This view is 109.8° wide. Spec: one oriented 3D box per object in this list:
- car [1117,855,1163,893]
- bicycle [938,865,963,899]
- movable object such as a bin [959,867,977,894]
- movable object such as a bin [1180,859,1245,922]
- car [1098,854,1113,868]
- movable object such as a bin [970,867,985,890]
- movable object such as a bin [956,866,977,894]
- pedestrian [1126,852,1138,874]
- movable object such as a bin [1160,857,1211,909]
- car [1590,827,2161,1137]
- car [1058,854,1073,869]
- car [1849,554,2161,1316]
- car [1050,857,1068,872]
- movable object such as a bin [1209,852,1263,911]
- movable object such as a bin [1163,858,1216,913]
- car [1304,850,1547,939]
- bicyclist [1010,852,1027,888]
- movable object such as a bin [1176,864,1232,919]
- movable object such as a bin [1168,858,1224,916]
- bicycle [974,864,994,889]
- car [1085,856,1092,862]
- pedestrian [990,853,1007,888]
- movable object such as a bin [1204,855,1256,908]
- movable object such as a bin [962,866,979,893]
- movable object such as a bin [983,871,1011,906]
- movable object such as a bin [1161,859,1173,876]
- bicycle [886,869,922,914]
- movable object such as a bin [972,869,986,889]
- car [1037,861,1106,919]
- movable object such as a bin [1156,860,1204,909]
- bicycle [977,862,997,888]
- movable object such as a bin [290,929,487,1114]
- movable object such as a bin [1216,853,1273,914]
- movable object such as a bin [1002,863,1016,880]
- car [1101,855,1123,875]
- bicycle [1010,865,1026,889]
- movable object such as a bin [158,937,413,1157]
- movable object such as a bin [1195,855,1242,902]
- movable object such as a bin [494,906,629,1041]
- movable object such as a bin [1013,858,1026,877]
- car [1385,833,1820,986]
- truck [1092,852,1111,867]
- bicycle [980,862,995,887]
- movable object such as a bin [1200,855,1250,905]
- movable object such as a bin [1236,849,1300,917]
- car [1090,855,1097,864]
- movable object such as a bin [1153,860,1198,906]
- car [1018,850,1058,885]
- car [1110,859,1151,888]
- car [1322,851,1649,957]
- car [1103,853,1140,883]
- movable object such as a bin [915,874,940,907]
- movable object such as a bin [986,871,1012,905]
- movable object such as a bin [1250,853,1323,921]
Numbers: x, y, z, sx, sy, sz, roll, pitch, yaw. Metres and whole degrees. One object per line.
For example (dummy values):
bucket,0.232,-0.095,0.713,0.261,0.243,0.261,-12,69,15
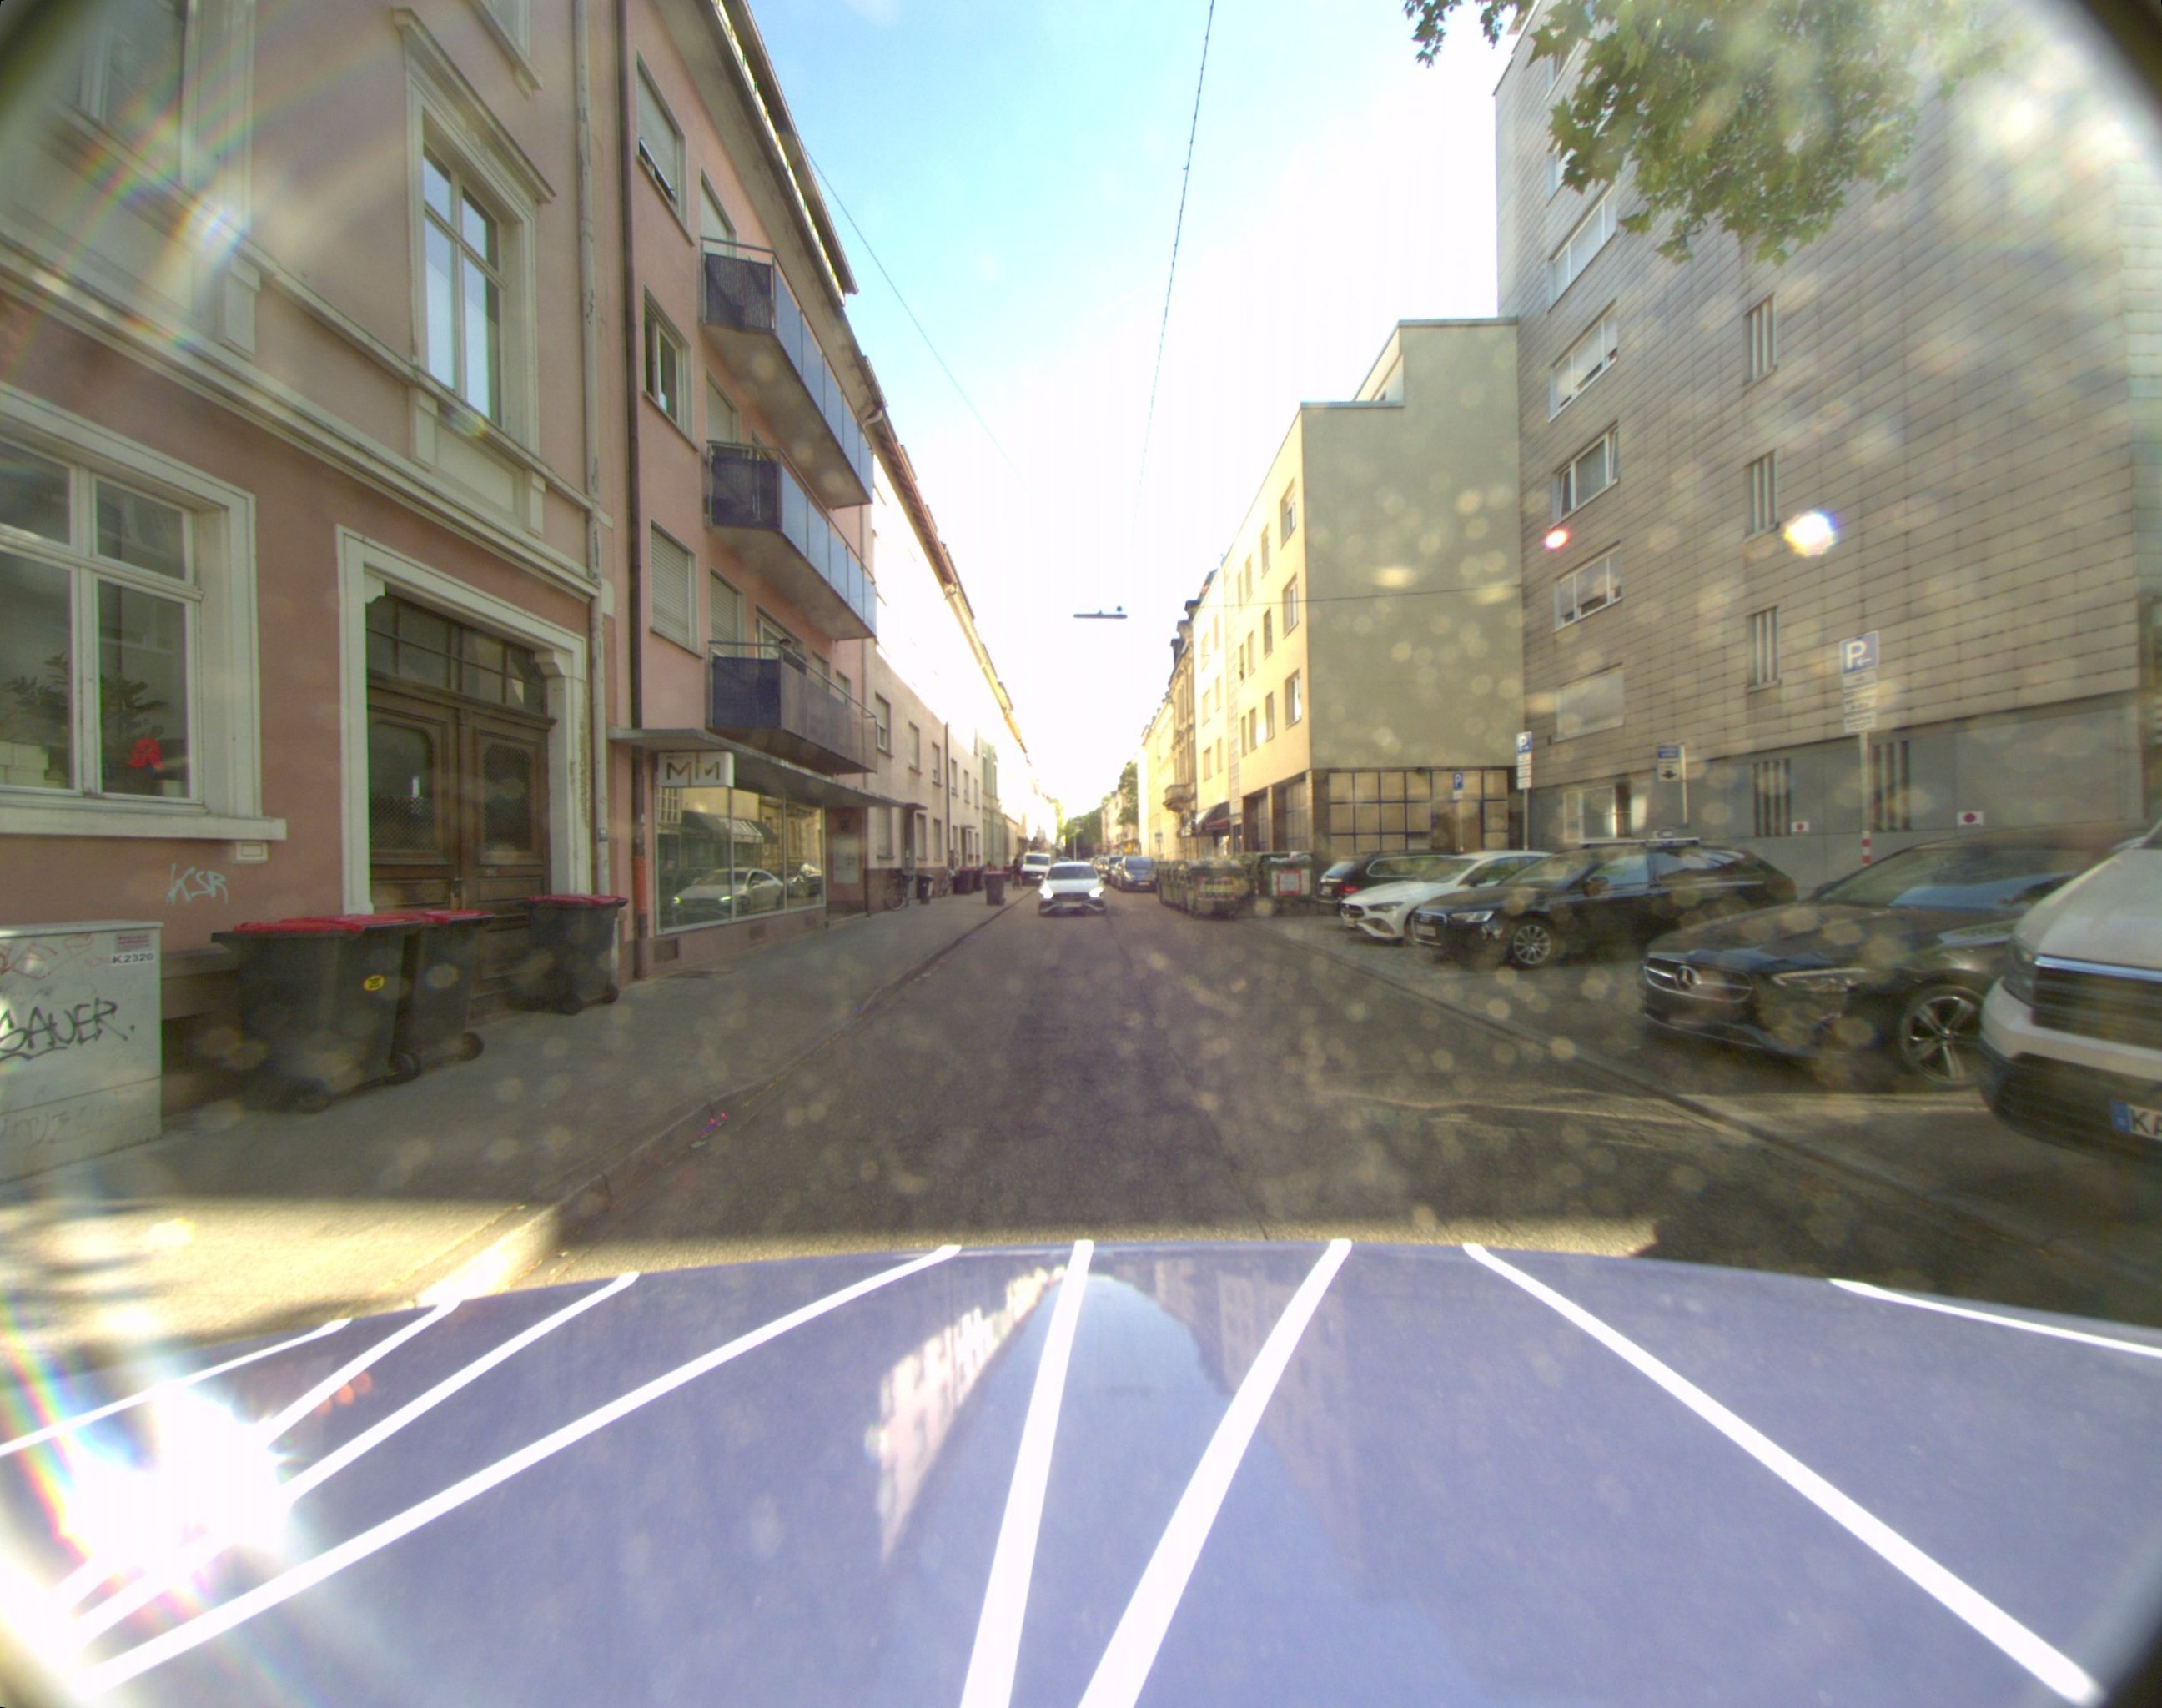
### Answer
car,2.660,0.864,35.231,1.787,1.657,4.670,0,0,0
bicycle,-4.837,1.013,28.329,0.538,1.163,2.076,3,0,-1
movable object such as a bin,-4.714,1.115,31.719,0.658,1.098,0.593,-1,0,1
movable object such as a bin,3.186,0.868,18.481,1.304,1.442,1.117,-2,1,-4
car,3.286,0.965,103.979,1.771,1.887,4.808,1,0,-1
movable object such as a bin,-4.769,1.115,35.068,0.617,1.056,0.603,1,0,0
movable object such as a bin,-4.699,1.065,31.124,0.740,1.091,0.640,2,1,1
pedestrian,4.298,0.730,63.783,0.913,1.822,1.245,-1,1,0
movable object such as a bin,3.102,0.861,22.775,1.352,1.478,1.003,-2,1,0
car,6.389,0.679,5.137,4.511,1.462,1.929,-4,0,1
car,-2.188,1.015,108.439,1.975,2.017,4.899,-2,0,-1
car,6.938,0.056,2.331,6.755,2.540,2.145,-4,1,2
car,-2.388,1.132,83.485,1.805,1.570,4.897,-2,0,0
movable object such as a bin,4.418,0.765,21.750,1.297,1.611,1.018,-2,1,0
movable object such as a bin,3.085,0.874,21.739,1.346,1.490,1.018,-2,1,0
car,6.582,0.744,14.830,3.885,1.496,1.826,-2,1,-1
bicyclist,-3.083,0.791,37.735,0.762,1.760,0.822,1,-1,-2
movable object such as a bin,3.156,0.950,19.581,1.244,1.314,1.045,-2,1,0
movable object such as a bin,3.105,0.889,20.671,1.338,1.482,1.082,-2,1,0
bicycle,-4.695,1.071,36.945,0.570,1.147,1.868,-1,1,5
car,2.080,1.434,208.580,1.786,1.674,4.021,-1,1,0
pedestrian,-4.135,0.816,38.030,0.656,1.701,0.687,-1,1,12
movable object such as a bin,4.444,0.807,22.753,1.305,1.514,1.018,-2,1,0
movable object such as a bin,-4.701,1.085,32.280,0.629,1.116,0.569,-1,1,1
movable object such as a bin,-2.694,1.108,24.423,0.770,1.080,0.693,-1,1,1
movable object such as a bin,5.937,0.918,52.391,0.721,1.125,0.584,-1,1,-4
bicycle,-4.807,0.989,20.711,0.454,1.127,1.920,1,0,2
movable object such as a bin,-4.793,1.184,35.678,0.578,0.919,0.607,1,0,0
car,-0.246,0.945,21.722,1.761,1.399,4.021,-1,1,0
movable object such as a bin,3.093,0.929,23.820,1.337,1.476,1.093,0,1,0
bicycle,-4.709,1.052,38.034,0.438,1.199,2.267,-1,1,7
movable object such as a bin,-4.475,1.057,4.956,0.703,1.067,0.596,-1,1,2
movable object such as a bin,4.438,0.782,20.686,1.292,1.595,1.082,-2,1,0
movable object such as a bin,-4.726,1.130,50.199,0.814,1.082,0.674,-1,1,2
car,2.510,0.896,62.492,1.748,1.605,4.603,0,0,1
bicycle,-3.103,1.116,37.744,0.665,1.130,1.988,2,-1,-2
movable object such as a bin,-4.475,1.056,4.324,0.747,1.080,0.634,-1,1,2
movable object such as a bin,4.498,0.786,24.989,1.300,1.489,1.178,-2,1,0
movable object such as a bin,-4.687,1.055,6.901,0.731,1.097,0.693,-1,1,-2
movable object such as a bin,-4.646,1.010,57.463,0.839,1.382,1.296,1,2,-1
car,6.677,0.655,10.085,4.478,1.600,1.915,-3,1,-2
truck,3.260,0.800,121.346,2.171,2.295,6.344,0,0,-6
bicycle,-4.832,1.042,39.370,0.406,1.199,2.160,-1,1,3
movable object such as a bin,4.492,0.795,23.830,1.309,1.490,1.157,-2,1,0
movable object such as a bin,4.765,0.711,19.417,1.231,1.643,1.173,-2,1,-6
car,2.897,1.321,178.937,1.585,1.971,4.068,-1,1,0
movable object such as a bin,3.095,0.942,24.994,1.323,1.442,1.187,0,1,0
car,-2.497,0.792,45.164,1.988,1.872,5.599,2,0,0
car,2.571,1.003,40.614,1.850,1.409,4.817,0,1,0
car,6.521,0.759,12.615,4.353,1.417,1.957,-3,1,-1
car,2.413,0.833,46.410,1.941,1.726,5.142,0,0,0
movable object such as a bin,-4.722,1.120,23.452,0.599,0.946,0.682,-1,1,1
movable object such as a bin,-2.703,1.108,25.136,0.734,1.074,0.703,-1,1,1
movable object such as a bin,4.908,0.768,18.259,1.357,1.540,1.120,-2,1,-6
